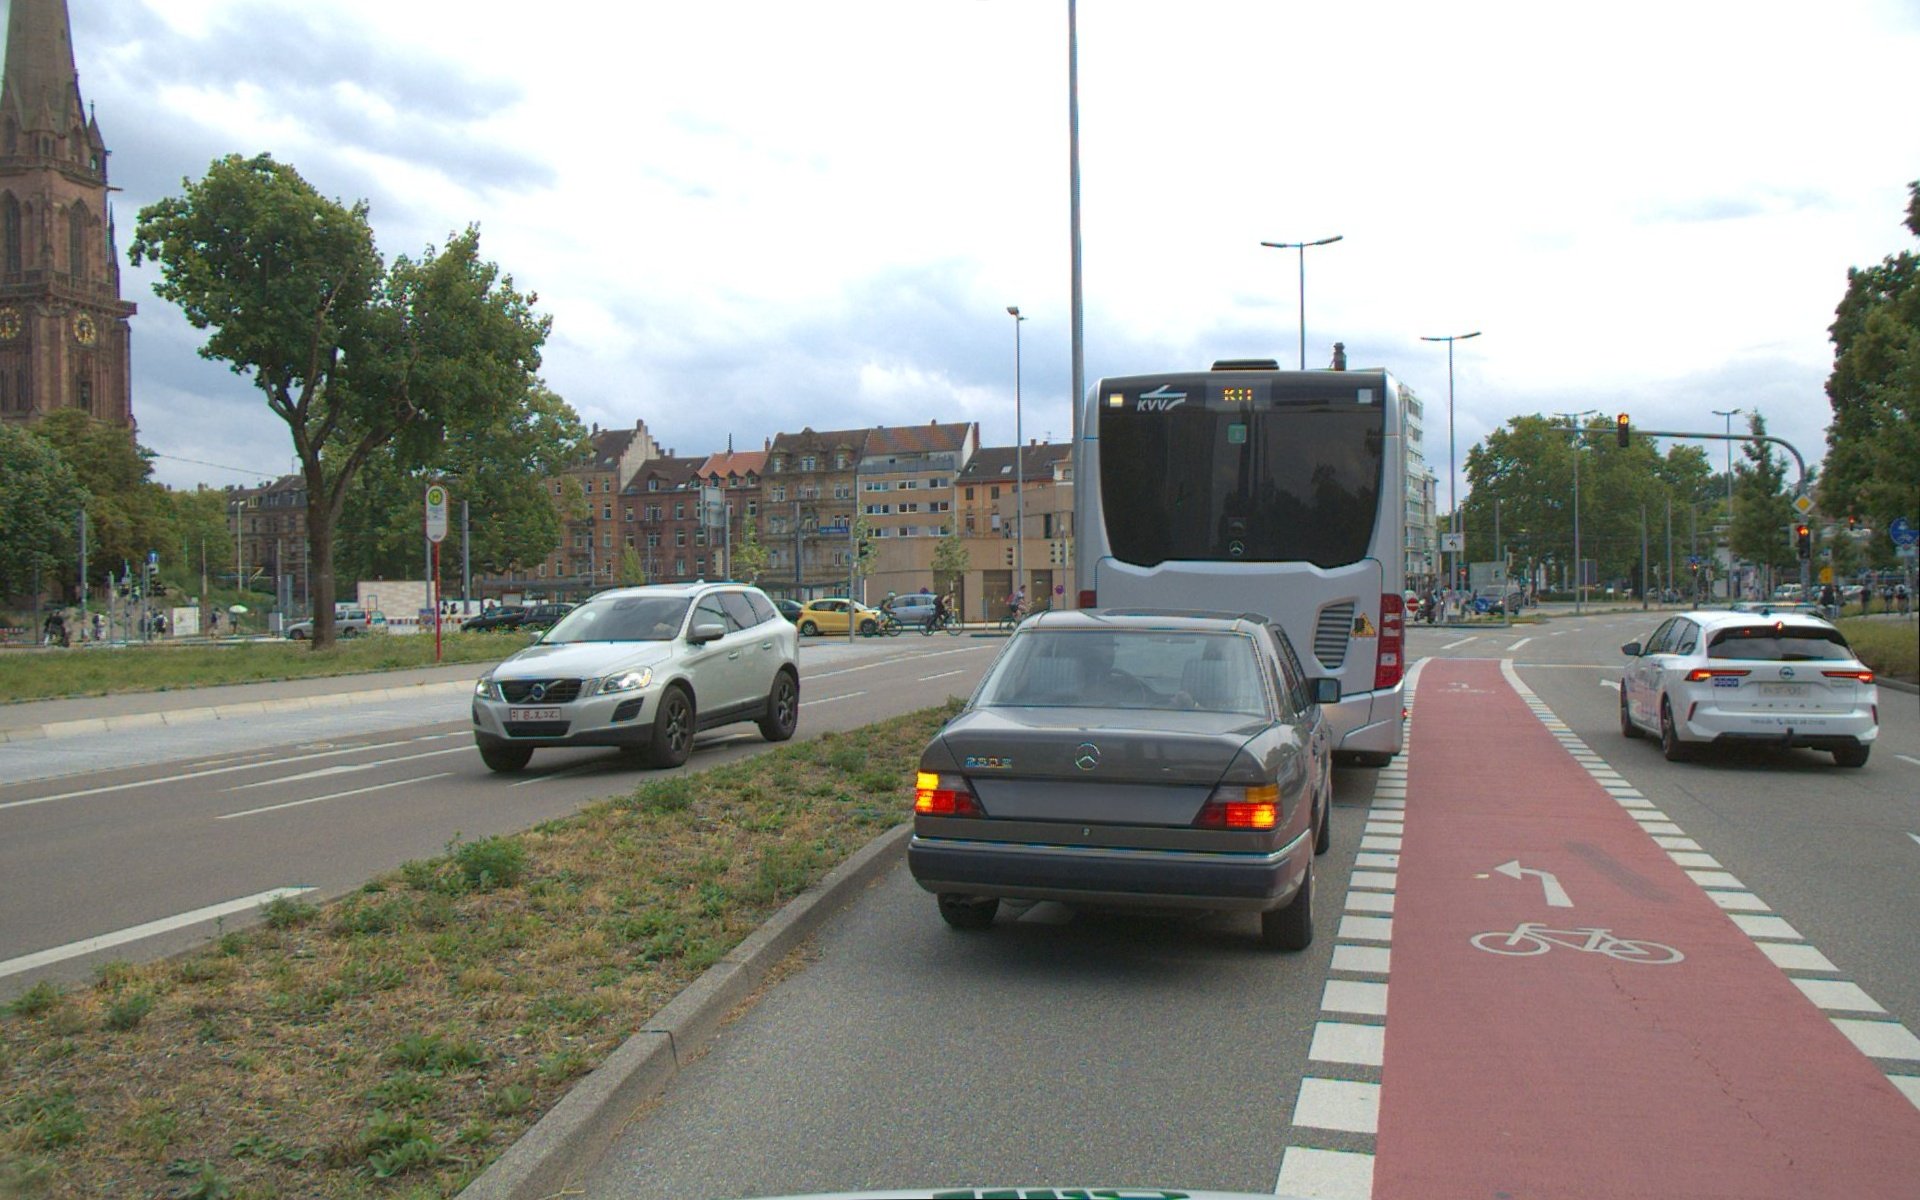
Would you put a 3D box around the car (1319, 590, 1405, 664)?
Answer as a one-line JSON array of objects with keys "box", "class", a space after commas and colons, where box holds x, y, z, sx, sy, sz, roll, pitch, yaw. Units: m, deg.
[{"box": [8.350, 0.528, 34.534, 1.619, 1.421, 3.863, -1, 0, 13], "class": "car"}]

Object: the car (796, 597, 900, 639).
[{"box": [-4.420, 0.706, 65.471, 3.774, 1.544, 1.662, 1, 0, 11], "class": "car"}]

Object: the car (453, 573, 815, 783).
[{"box": [-2.997, 0.661, 16.257, 1.743, 1.760, 4.376, -2, 0, 14], "class": "car"}]

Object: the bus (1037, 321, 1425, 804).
[{"box": [2.927, -0.293, 16.129, 2.771, 3.449, 8.189, -1, 0, 14], "class": "bus"}]

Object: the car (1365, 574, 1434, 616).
[{"box": [23.882, -0.279, 89.659, 2.533, 2.146, 5.596, -1, 0, 26], "class": "car"}]

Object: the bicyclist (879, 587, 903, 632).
[{"box": [-2.626, 0.370, 62.817, 0.769, 1.672, 0.573, -1, 0, 10], "class": "bicyclist"}]

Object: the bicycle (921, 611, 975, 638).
[{"box": [-0.457, 0.922, 62.150, 1.922, 0.999, 0.631, -1, 0, 14], "class": "bicycle"}]

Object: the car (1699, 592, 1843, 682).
[{"box": [14.427, 0.613, 29.597, 1.688, 1.483, 3.738, -1, 0, 17], "class": "car"}]

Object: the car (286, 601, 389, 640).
[{"box": [-28.433, 0.915, 75.578, 4.065, 1.678, 1.648, -1, 0, 10], "class": "car"}]

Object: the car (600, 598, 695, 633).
[{"box": [-13.528, 0.661, 71.666, 3.683, 1.419, 1.586, 1, 0, 11], "class": "car"}]

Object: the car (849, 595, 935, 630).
[{"box": [-2.887, 0.510, 70.053, 3.599, 1.419, 1.584, 0, 0, -3], "class": "car"}]

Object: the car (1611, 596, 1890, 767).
[{"box": [7.949, 0.726, 17.081, 1.703, 1.464, 4.786, -1, 0, 15], "class": "car"}]

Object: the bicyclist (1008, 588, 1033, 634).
[{"box": [2.237, 0.390, 61.141, 0.769, 1.672, 0.614, -1, 0, 13], "class": "bicyclist"}]

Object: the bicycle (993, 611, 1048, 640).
[{"box": [2.241, 0.944, 61.142, 1.922, 0.999, 0.631, -1, 0, 13], "class": "bicycle"}]

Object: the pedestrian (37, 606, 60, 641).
[{"box": [-42.886, 1.117, 77.784, 0.549, 1.587, 0.727, -1, 2, 9], "class": "pedestrian"}]

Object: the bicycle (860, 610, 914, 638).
[{"box": [-2.764, 0.919, 62.851, 1.922, 0.999, 0.631, -1, 0, 11], "class": "bicycle"}]

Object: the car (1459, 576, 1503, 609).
[{"box": [34.030, -0.486, 108.056, 1.956, 2.049, 3.993, -1, 0, 29], "class": "car"}]

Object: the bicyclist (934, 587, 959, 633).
[{"box": [-0.500, 0.373, 62.166, 0.769, 1.672, 0.573, -1, 0, 15], "class": "bicyclist"}]

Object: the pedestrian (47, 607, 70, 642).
[{"box": [-42.045, 1.123, 77.175, 0.549, 1.587, 0.727, -1, 2, 9], "class": "pedestrian"}]

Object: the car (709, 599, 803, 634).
[{"box": [-8.715, 0.688, 70.889, 3.683, 1.419, 1.586, 1, 0, 11], "class": "car"}]

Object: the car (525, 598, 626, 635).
[{"box": [-15.691, 0.666, 67.618, 3.683, 1.419, 1.586, 1, 0, 11], "class": "car"}]

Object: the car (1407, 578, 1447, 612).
[{"box": [27.495, -0.308, 97.319, 1.770, 1.883, 3.999, -1, 0, 22], "class": "car"}]

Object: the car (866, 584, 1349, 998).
[{"box": [1.003, 0.695, 8.305, 1.724, 1.515, 4.174, -1, 0, 15], "class": "car"}]
